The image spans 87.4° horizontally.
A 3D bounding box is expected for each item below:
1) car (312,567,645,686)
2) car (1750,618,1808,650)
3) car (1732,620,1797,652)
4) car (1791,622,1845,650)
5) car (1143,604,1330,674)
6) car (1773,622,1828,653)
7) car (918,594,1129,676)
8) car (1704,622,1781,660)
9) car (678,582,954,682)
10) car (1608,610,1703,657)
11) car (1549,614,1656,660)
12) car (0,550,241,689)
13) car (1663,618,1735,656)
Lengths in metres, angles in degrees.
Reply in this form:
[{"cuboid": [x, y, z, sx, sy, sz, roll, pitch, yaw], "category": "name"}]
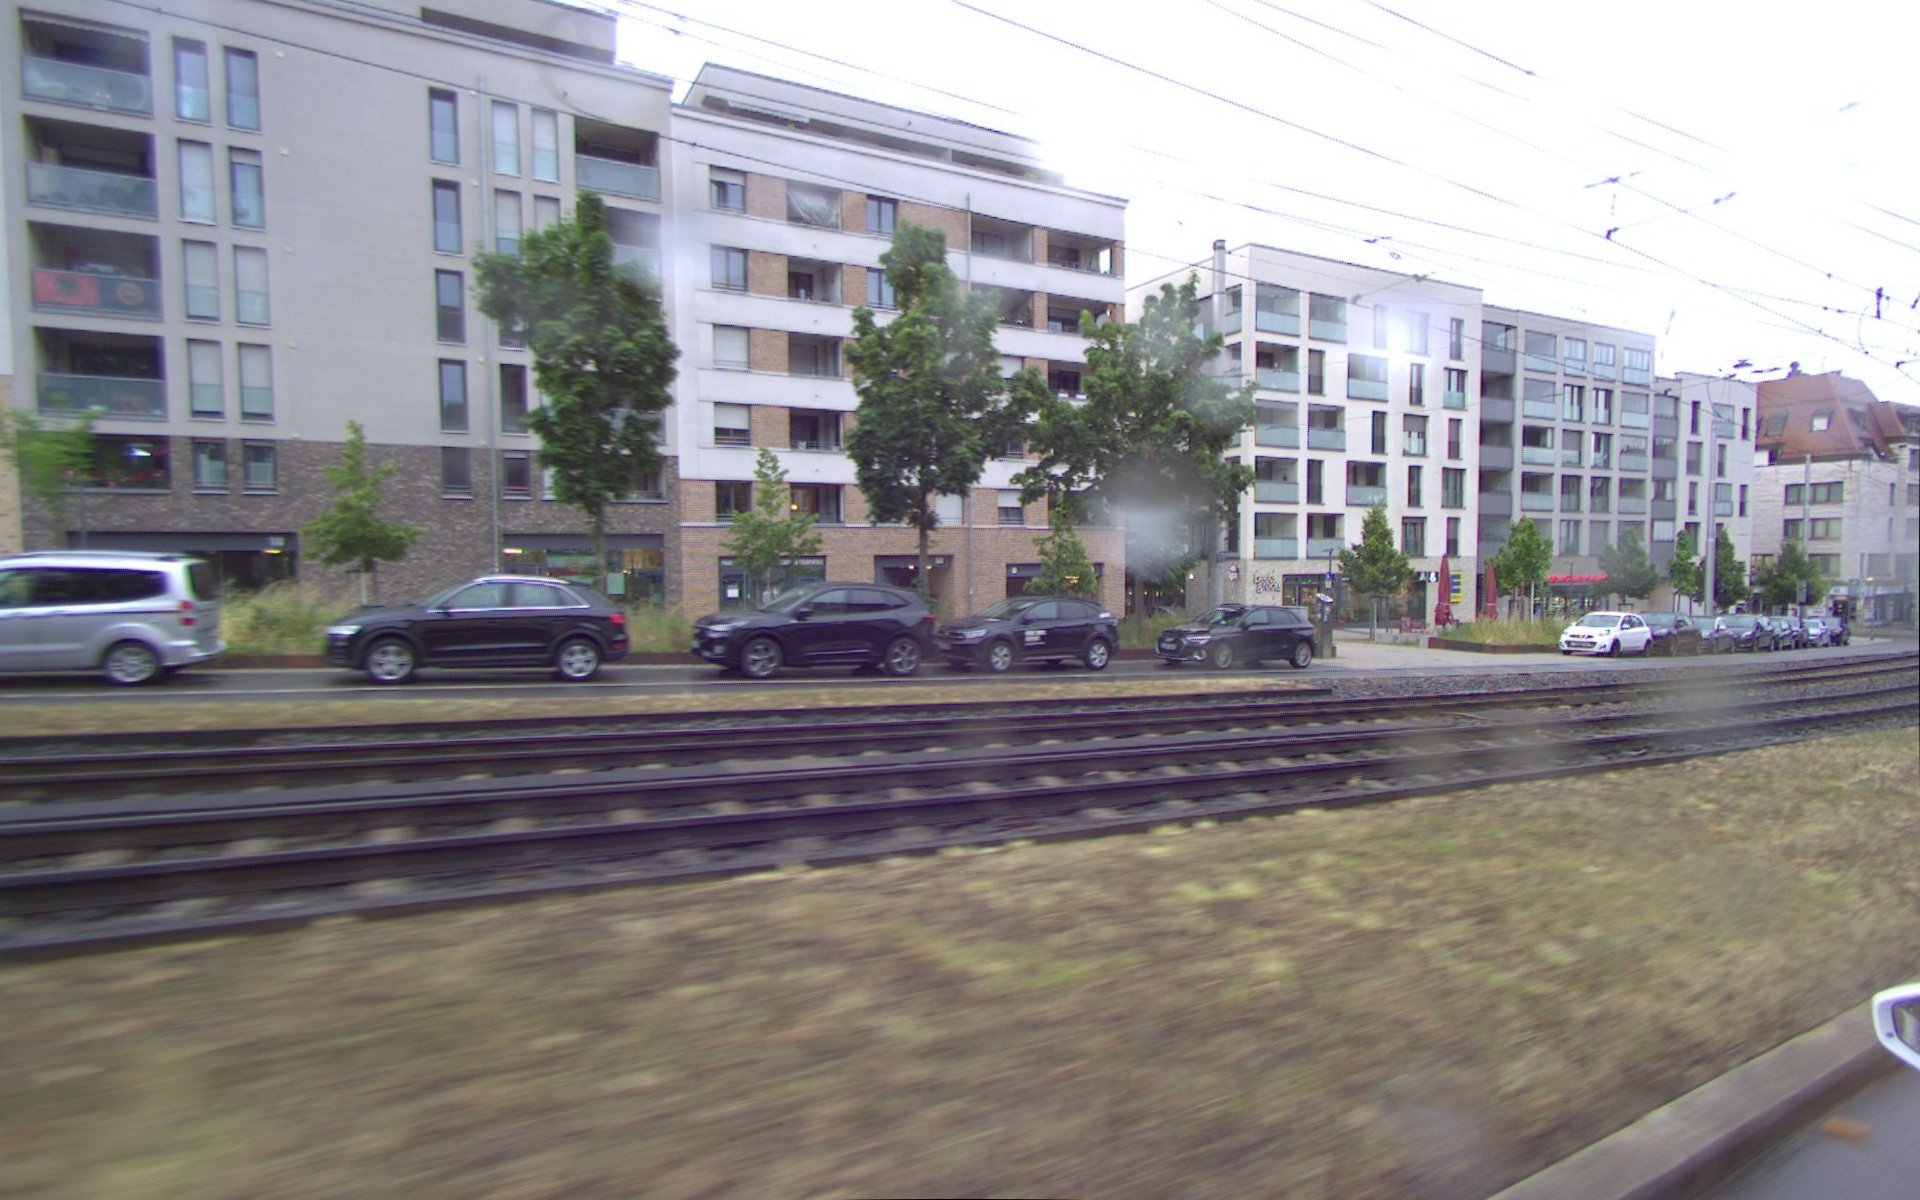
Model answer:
[{"cuboid": [-7.420, 0.397, 15.832, 4.472, 1.666, 1.726, 1, 1, -26], "category": "car"}, {"cuboid": [41.309, 1.706, 50.645, 3.894, 1.524, 1.756, 2, 0, -43], "category": "car"}, {"cuboid": [38.035, 1.681, 47.450, 3.976, 1.380, 1.536, 2, 2, -39], "category": "car"}, {"cuboid": [49.904, 2.085, 58.401, 4.207, 1.524, 1.893, 2, 0, -43], "category": "car"}, {"cuboid": [6.596, 0.899, 23.892, 4.151, 1.450, 1.956, 2, 1, -31], "category": "car"}, {"cuboid": [44.932, 1.968, 53.661, 4.055, 1.524, 1.756, 2, 0, -43], "category": "car"}, {"cuboid": [1.376, 0.703, 21.077, 4.211, 1.509, 1.726, 1, 2, -33], "category": "car"}, {"cuboid": [34.199, 1.777, 43.869, 4.282, 1.533, 1.705, 2, 0, -39], "category": "car"}, {"cuboid": [-2.593, 0.567, 18.389, 4.641, 1.605, 1.795, 1, 1, -29], "category": "car"}, {"cuboid": [25.993, 1.236, 37.509, 4.368, 1.582, 1.751, 2, 0, -39], "category": "car"}, {"cuboid": [22.416, 1.281, 35.015, 3.694, 1.499, 1.755, 2, 0, -33], "category": "car"}, {"cuboid": [-12.507, 0.230, 13.636, 4.201, 1.771, 1.657, 1, 1, -26], "category": "car"}, {"cuboid": [30.098, 1.491, 40.879, 3.421, 1.454, 1.536, 2, 0, -39], "category": "car"}]
